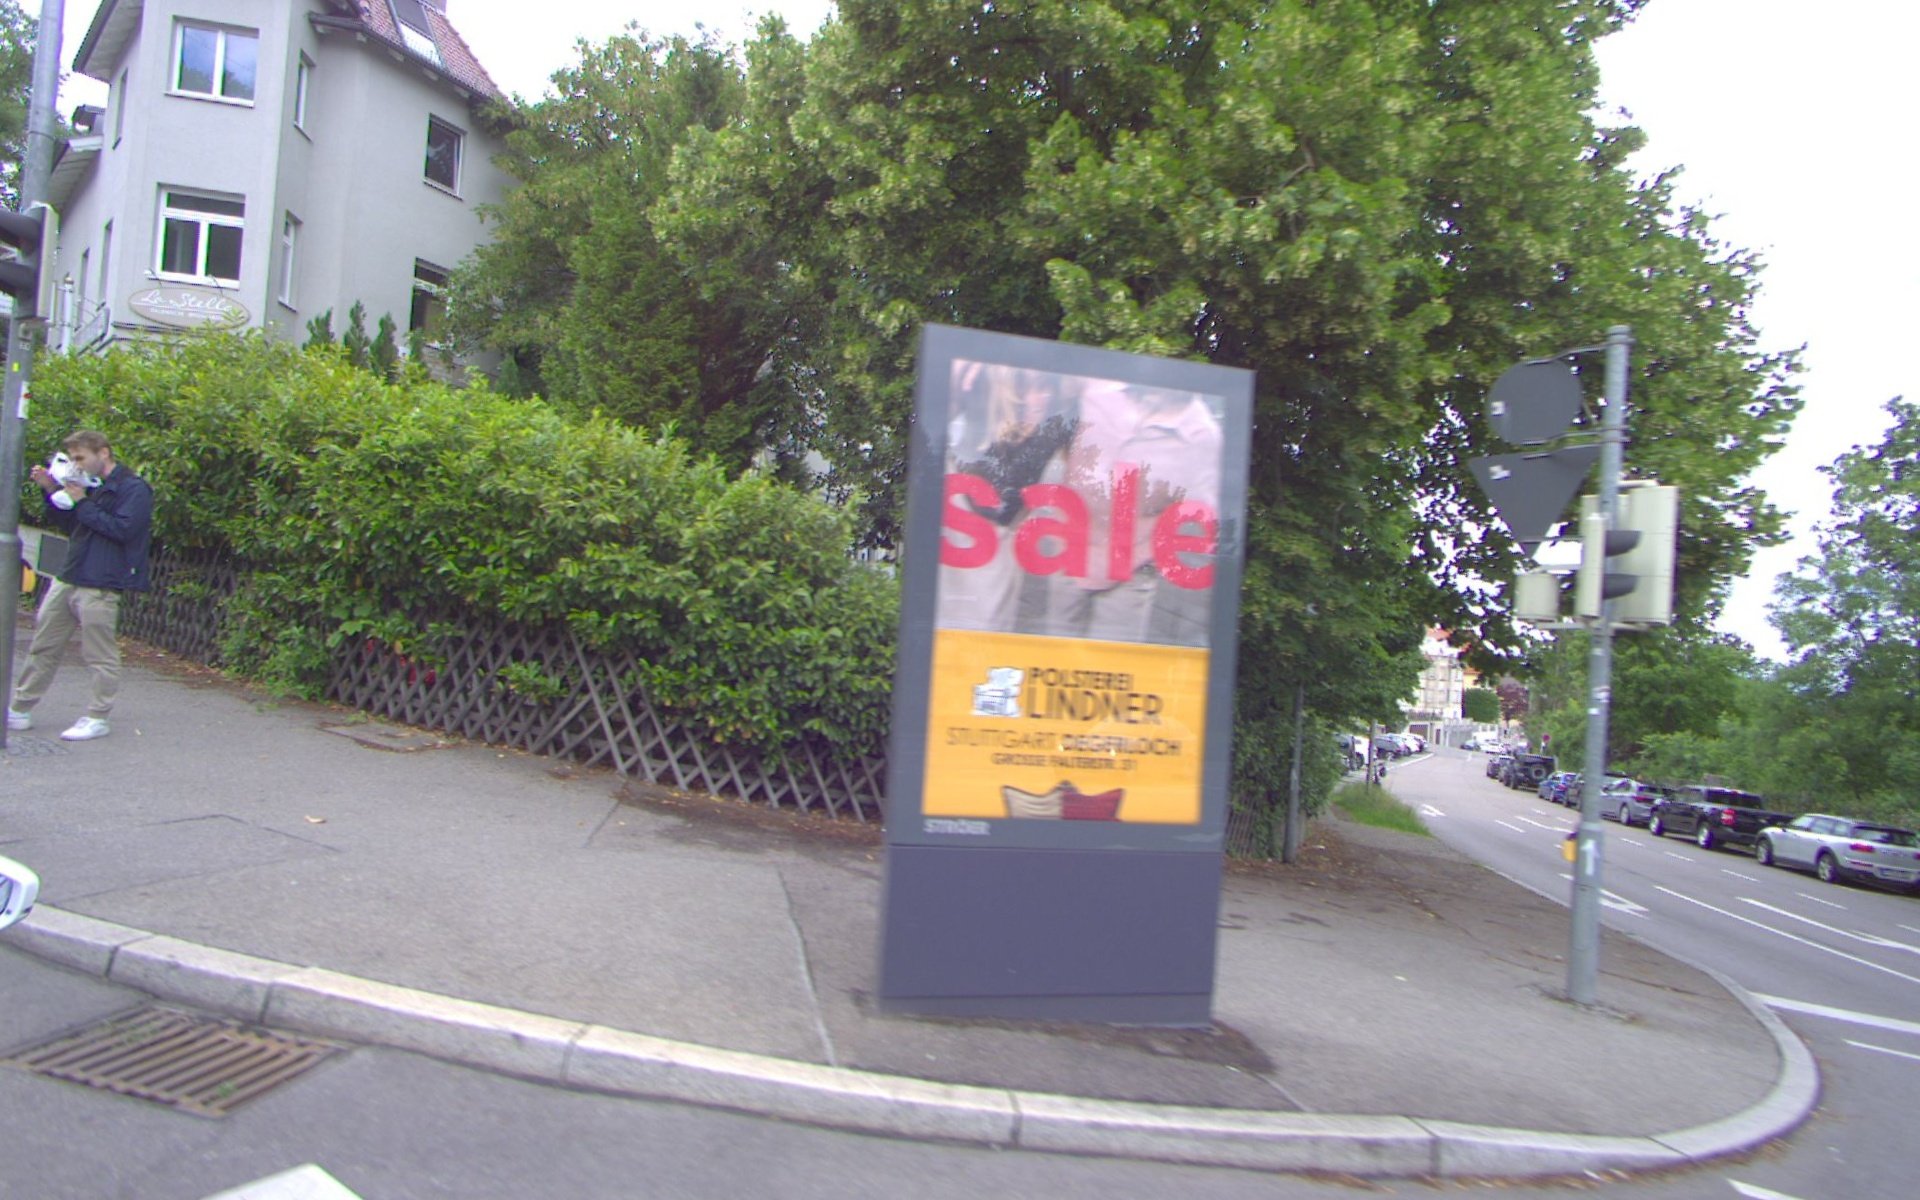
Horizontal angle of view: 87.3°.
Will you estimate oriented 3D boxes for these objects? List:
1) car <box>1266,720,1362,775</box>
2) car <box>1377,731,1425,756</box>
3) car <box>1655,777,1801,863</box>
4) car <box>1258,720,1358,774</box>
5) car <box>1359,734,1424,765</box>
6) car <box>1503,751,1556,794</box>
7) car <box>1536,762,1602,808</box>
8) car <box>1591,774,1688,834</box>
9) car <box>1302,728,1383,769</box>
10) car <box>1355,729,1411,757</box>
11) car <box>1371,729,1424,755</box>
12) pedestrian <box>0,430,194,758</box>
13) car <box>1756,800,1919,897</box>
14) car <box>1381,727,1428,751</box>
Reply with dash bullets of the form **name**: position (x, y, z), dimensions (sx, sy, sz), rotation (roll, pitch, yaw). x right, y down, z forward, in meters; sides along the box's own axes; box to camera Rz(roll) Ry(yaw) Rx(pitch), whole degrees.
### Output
- **car**: position (15.690, 6.530, 44.622), dimensions (3.649, 1.788, 1.679), rotation (7, -3, 29)
- **car**: position (40.291, 13.122, 91.879), dimensions (3.655, 1.613, 1.567), rotation (6, -4, 35)
- **car**: position (21.167, 6.007, 27.952), dimensions (1.600, 1.645, 4.513), rotation (7, -4, 17)
- **car**: position (13.748, 5.803, 39.787), dimensions (3.410, 1.533, 1.435), rotation (6, -3, 29)
- **car**: position (29.654, 10.252, 69.120), dimensions (3.911, 1.470, 1.570), rotation (7, -3, 26)
- **car**: position (29.331, 8.874, 51.942), dimensions (1.537, 1.738, 4.262), rotation (7, -4, 20)
- **car**: position (26.677, 8.075, 44.176), dimensions (1.536, 1.528, 4.034), rotation (7, -4, 19)
- **car**: position (22.917, 6.832, 34.068), dimensions (1.536, 1.420, 3.830), rotation (7, -4, 18)
- **car**: position (20.244, 7.867, 53.260), dimensions (3.651, 1.525, 1.568), rotation (6, -4, 31)
- **car**: position (31.315, 10.577, 74.428), dimensions (3.647, 1.470, 1.875), rotation (7, -4, 26)
- **car**: position (36.087, 11.715, 82.914), dimensions (3.655, 1.521, 1.567), rotation (6, -4, 35)
- **pedestrian**: position (-5.315, -0.027, 6.109), dimensions (0.610, 1.855, 0.694), rotation (7, -1, 32)
- **car**: position (19.897, 5.550, 22.768), dimensions (1.599, 1.470, 3.786), rotation (6, -4, 17)
- **car**: position (41.666, 13.053, 94.231), dimensions (3.655, 1.613, 1.567), rotation (6, -4, 35)
